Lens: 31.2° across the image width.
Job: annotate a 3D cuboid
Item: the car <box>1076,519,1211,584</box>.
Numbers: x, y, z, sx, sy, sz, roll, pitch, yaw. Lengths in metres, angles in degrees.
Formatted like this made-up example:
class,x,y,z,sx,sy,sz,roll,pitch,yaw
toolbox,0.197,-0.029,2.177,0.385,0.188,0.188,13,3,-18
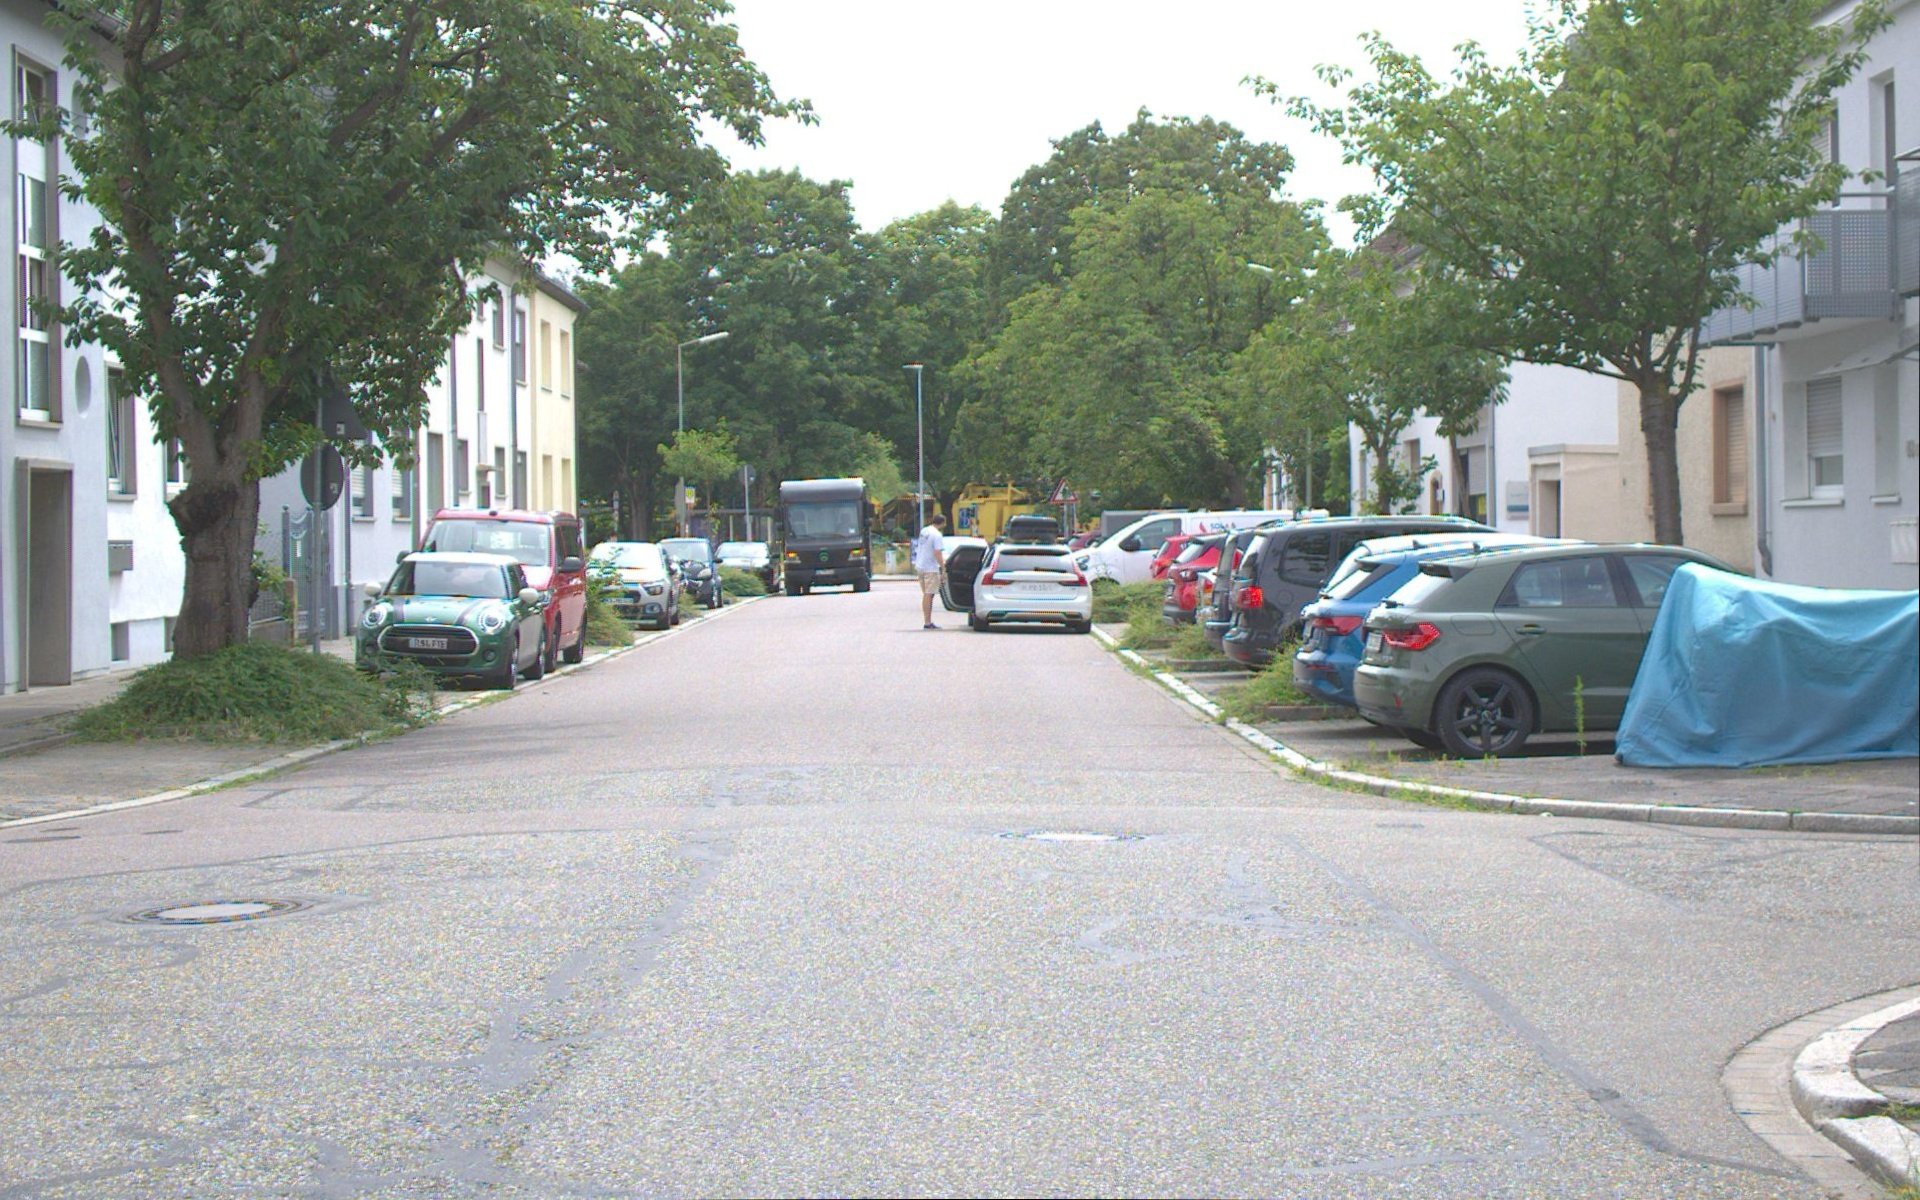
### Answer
class,x,y,z,sx,sy,sz,roll,pitch,yaw
car,4.960,-1.324,93.313,3.530,1.597,1.773,-3,1,1

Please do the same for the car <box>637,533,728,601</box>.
class,x,y,z,sx,sy,sz,roll,pitch,yaw
car,-6.017,-0.733,74.926,1.651,1.372,3.722,-3,1,0

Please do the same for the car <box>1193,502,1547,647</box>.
class,x,y,z,sx,sy,sz,roll,pitch,yaw
car,4.890,-0.316,41.376,3.987,1.513,1.723,-3,1,0

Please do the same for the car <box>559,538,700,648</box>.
class,x,y,z,sx,sy,sz,roll,pitch,yaw
car,-4.724,-0.131,49.533,1.651,1.456,3.552,-3,1,0

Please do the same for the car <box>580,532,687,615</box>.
class,x,y,z,sx,sy,sz,roll,pitch,yaw
car,-5.793,-0.493,61.299,1.651,1.372,3.722,-3,1,-2

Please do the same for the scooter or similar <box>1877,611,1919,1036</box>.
class,x,y,z,sx,sy,sz,roll,pitch,yaw
scooter or similar,3.402,0.630,10.150,1.238,1.239,0.422,-3,1,-12

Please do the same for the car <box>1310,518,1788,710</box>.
class,x,y,z,sx,sy,sz,roll,pitch,yaw
car,5.292,0.107,31.255,3.987,1.513,1.723,-3,1,0

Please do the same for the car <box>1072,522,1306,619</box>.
class,x,y,z,sx,sy,sz,roll,pitch,yaw
car,4.050,-0.535,61.316,3.987,1.513,1.723,-3,1,0

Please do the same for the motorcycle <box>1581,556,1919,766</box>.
class,x,y,z,sx,sy,sz,roll,pitch,yaw
motorcycle,4.957,0.355,20.842,2.193,1.206,0.940,-1,1,-2

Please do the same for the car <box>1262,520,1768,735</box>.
class,x,y,z,sx,sy,sz,roll,pitch,yaw
car,4.127,0.186,25.941,3.517,1.407,1.559,-3,1,1

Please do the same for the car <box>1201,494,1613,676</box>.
class,x,y,z,sx,sy,sz,roll,pitch,yaw
car,4.312,-0.161,33.552,3.747,1.559,1.773,-3,1,1

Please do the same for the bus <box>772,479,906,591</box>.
class,x,y,z,sx,sy,sz,roll,pitch,yaw
bus,-3.193,-1.777,93.199,3.004,2.751,8.924,-3,1,1

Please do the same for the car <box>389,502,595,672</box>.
class,x,y,z,sx,sy,sz,roll,pitch,yaw
car,-5.852,-0.196,43.488,1.993,2.007,4.521,-1,1,0

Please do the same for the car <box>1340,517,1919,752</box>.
class,x,y,z,sx,sy,sz,roll,pitch,yaw
car,4.566,0.208,23.312,3.747,1.361,1.773,-3,1,1

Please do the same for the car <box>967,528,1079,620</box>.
class,x,y,z,sx,sy,sz,roll,pitch,yaw
car,1.022,-0.440,55.369,1.687,1.349,3.826,-3,1,1

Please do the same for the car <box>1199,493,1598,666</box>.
class,x,y,z,sx,sy,sz,roll,pitch,yaw
car,4.633,-0.232,36.743,3.987,1.612,1.867,-3,1,1

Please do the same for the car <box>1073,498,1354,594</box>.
class,x,y,z,sx,sy,sz,roll,pitch,yaw
car,4.658,-1.008,63.634,4.974,1.513,1.769,-3,1,-1

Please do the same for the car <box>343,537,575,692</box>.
class,x,y,z,sx,sy,sz,roll,pitch,yaw
car,-5.513,0.121,38.228,1.763,1.548,3.730,-3,1,3

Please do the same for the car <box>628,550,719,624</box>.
class,x,y,z,sx,sy,sz,roll,pitch,yaw
car,-5.498,-0.265,66.363,1.538,1.297,3.722,-3,1,-2

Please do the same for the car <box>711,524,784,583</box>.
class,x,y,z,sx,sy,sz,roll,pitch,yaw
car,-5.799,-1.285,94.209,1.621,1.497,4.000,-3,1,1

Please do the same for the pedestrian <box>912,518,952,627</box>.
class,x,y,z,sx,sy,sz,roll,pitch,yaw
pedestrian,-0.442,-0.443,54.647,0.522,1.698,0.444,-3,1,4

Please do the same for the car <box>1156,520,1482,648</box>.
class,x,y,z,sx,sy,sz,roll,pitch,yaw
car,4.622,-0.222,44.595,3.987,1.434,1.723,-3,1,0
